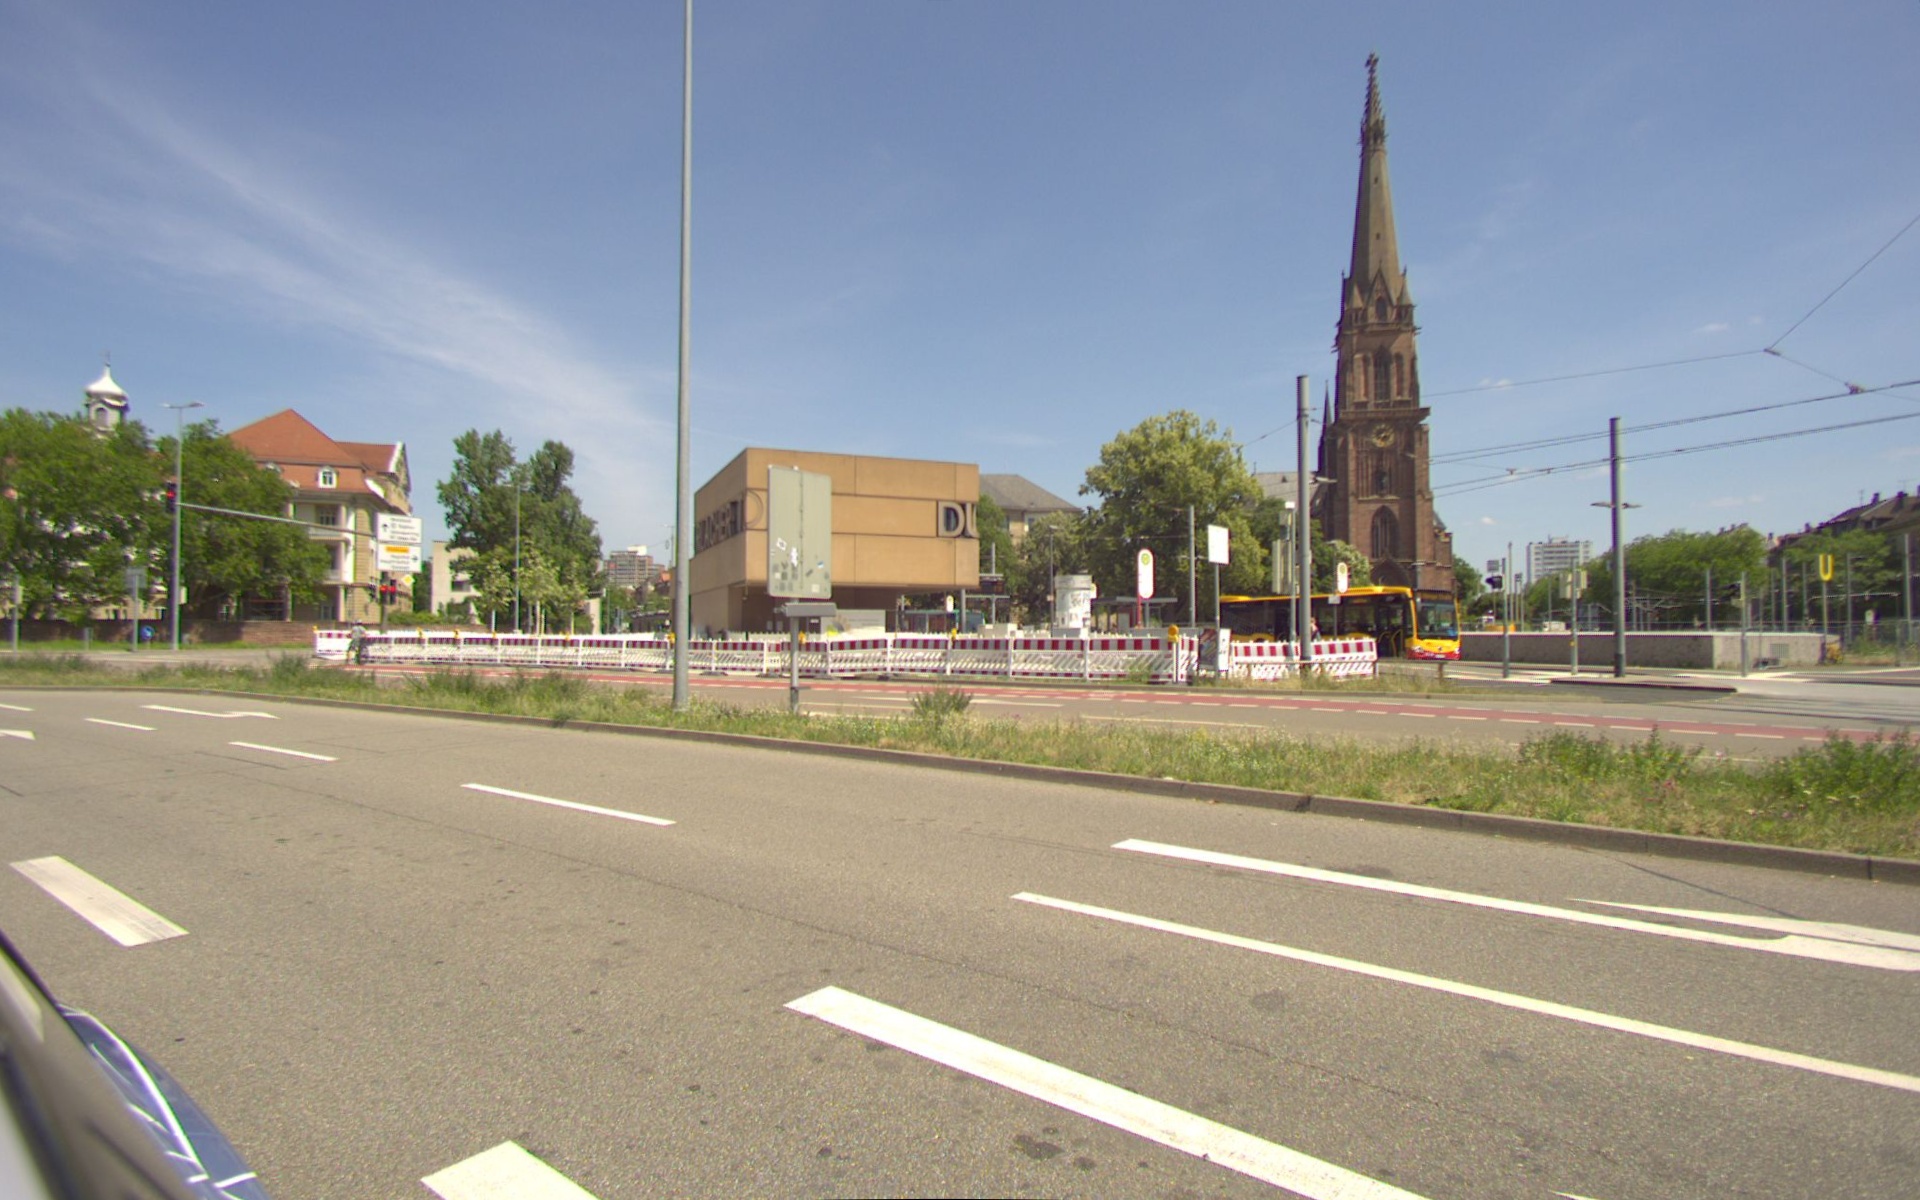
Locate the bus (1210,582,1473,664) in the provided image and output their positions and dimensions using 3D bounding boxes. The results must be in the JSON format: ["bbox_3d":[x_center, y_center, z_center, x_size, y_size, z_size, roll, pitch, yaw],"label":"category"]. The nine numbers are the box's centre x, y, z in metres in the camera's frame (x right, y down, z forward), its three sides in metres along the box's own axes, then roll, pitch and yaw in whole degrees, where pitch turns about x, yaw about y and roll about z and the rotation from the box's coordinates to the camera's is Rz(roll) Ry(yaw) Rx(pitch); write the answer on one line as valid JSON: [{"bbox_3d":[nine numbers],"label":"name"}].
[{"bbox_3d":[15.677,1.061,43.321,2.807,3.039,12.260,1,-2,-23],"label":"bus"}]

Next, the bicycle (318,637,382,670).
[{"bbox_3d":[-21.497,1.869,35.677,2.220,1.080,0.871,-1,0,26],"label":"bicycle"}]

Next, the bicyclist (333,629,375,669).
[{"bbox_3d":[-21.447,1.722,35.811,1.431,1.366,0.582,-1,0,26],"label":"bicyclist"}]
